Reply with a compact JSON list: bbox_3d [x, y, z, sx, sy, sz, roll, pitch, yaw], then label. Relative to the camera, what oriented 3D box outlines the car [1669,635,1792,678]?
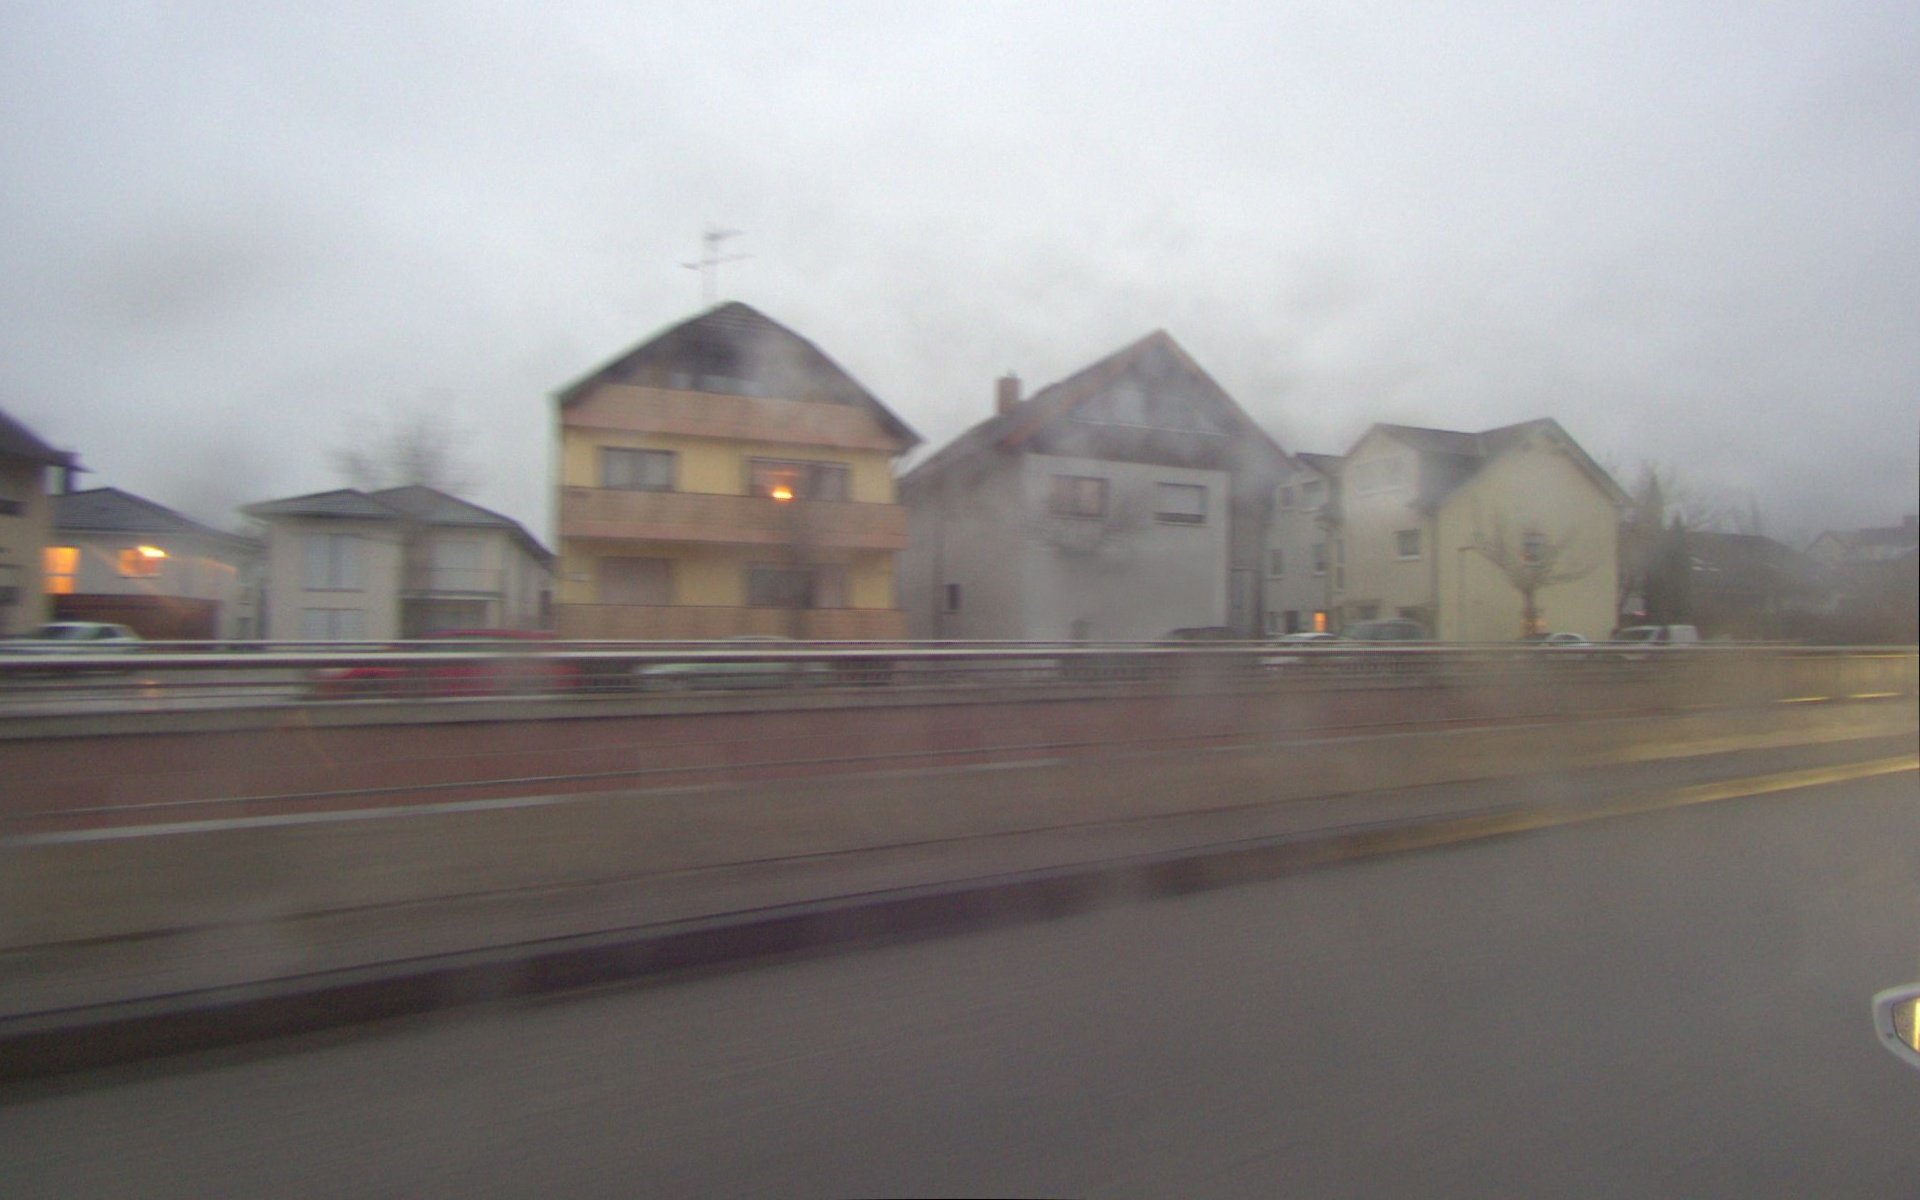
[{"bbox_3d":[30.499,2.225,39.756,4.436,1.593,1.871,0,-3,-22],"label":"car"}]

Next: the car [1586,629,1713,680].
[{"bbox_3d":[25.840,2.031,37.651,4.439,1.802,1.869,0,-3,-24],"label":"car"}]

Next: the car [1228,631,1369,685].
[{"bbox_3d":[10.286,1.740,30.508,3.978,1.543,1.763,2,-2,-26],"label":"car"}]

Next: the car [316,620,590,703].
[{"bbox_3d":[-9.772,1.156,19.723,4.584,1.461,1.871,1,-1,-25],"label":"car"}]

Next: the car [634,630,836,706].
[{"bbox_3d":[-5.020,1.465,22.404,4.088,1.525,1.871,1,-1,-26],"label":"car"}]

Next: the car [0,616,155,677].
[{"bbox_3d":[-26.012,1.322,29.466,1.964,1.565,3.993,1,0,-9],"label":"car"}]

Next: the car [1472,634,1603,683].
[{"bbox_3d":[20.267,2.030,35.234,4.166,1.619,1.869,0,-3,-24],"label":"car"}]

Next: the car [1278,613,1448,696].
[{"bbox_3d":[9.615,1.284,23.947,3.814,1.827,1.792,2,-2,-29],"label":"car"}]

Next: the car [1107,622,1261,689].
[{"bbox_3d":[6.308,1.528,28.279,3.947,1.704,1.852,1,1,-26],"label":"car"}]
